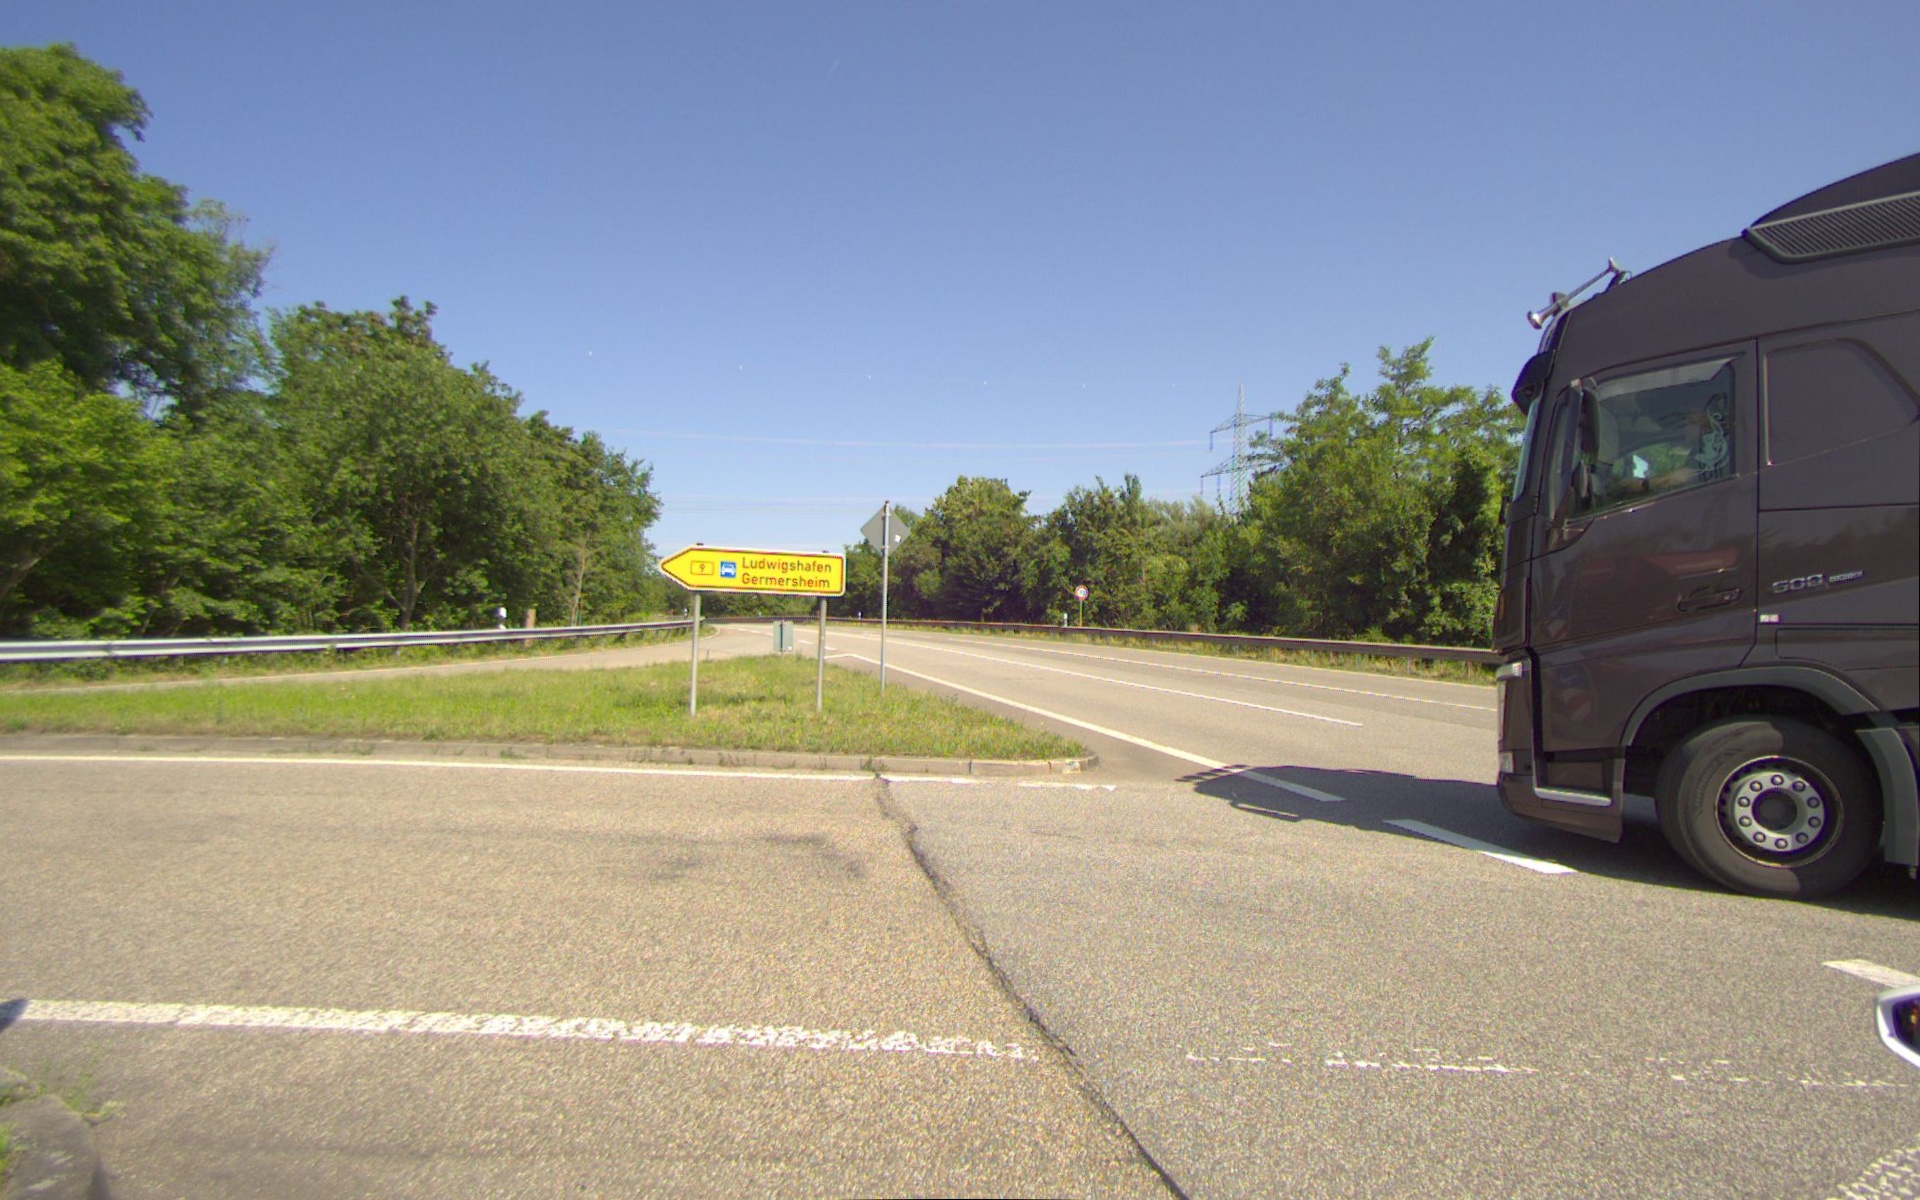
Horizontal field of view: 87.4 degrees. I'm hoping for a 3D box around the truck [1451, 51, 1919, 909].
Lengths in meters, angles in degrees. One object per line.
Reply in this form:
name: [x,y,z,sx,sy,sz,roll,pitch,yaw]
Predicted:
truck: [6.282,-0.556,5.453,5.884,4.229,2.864,1,0,42]
